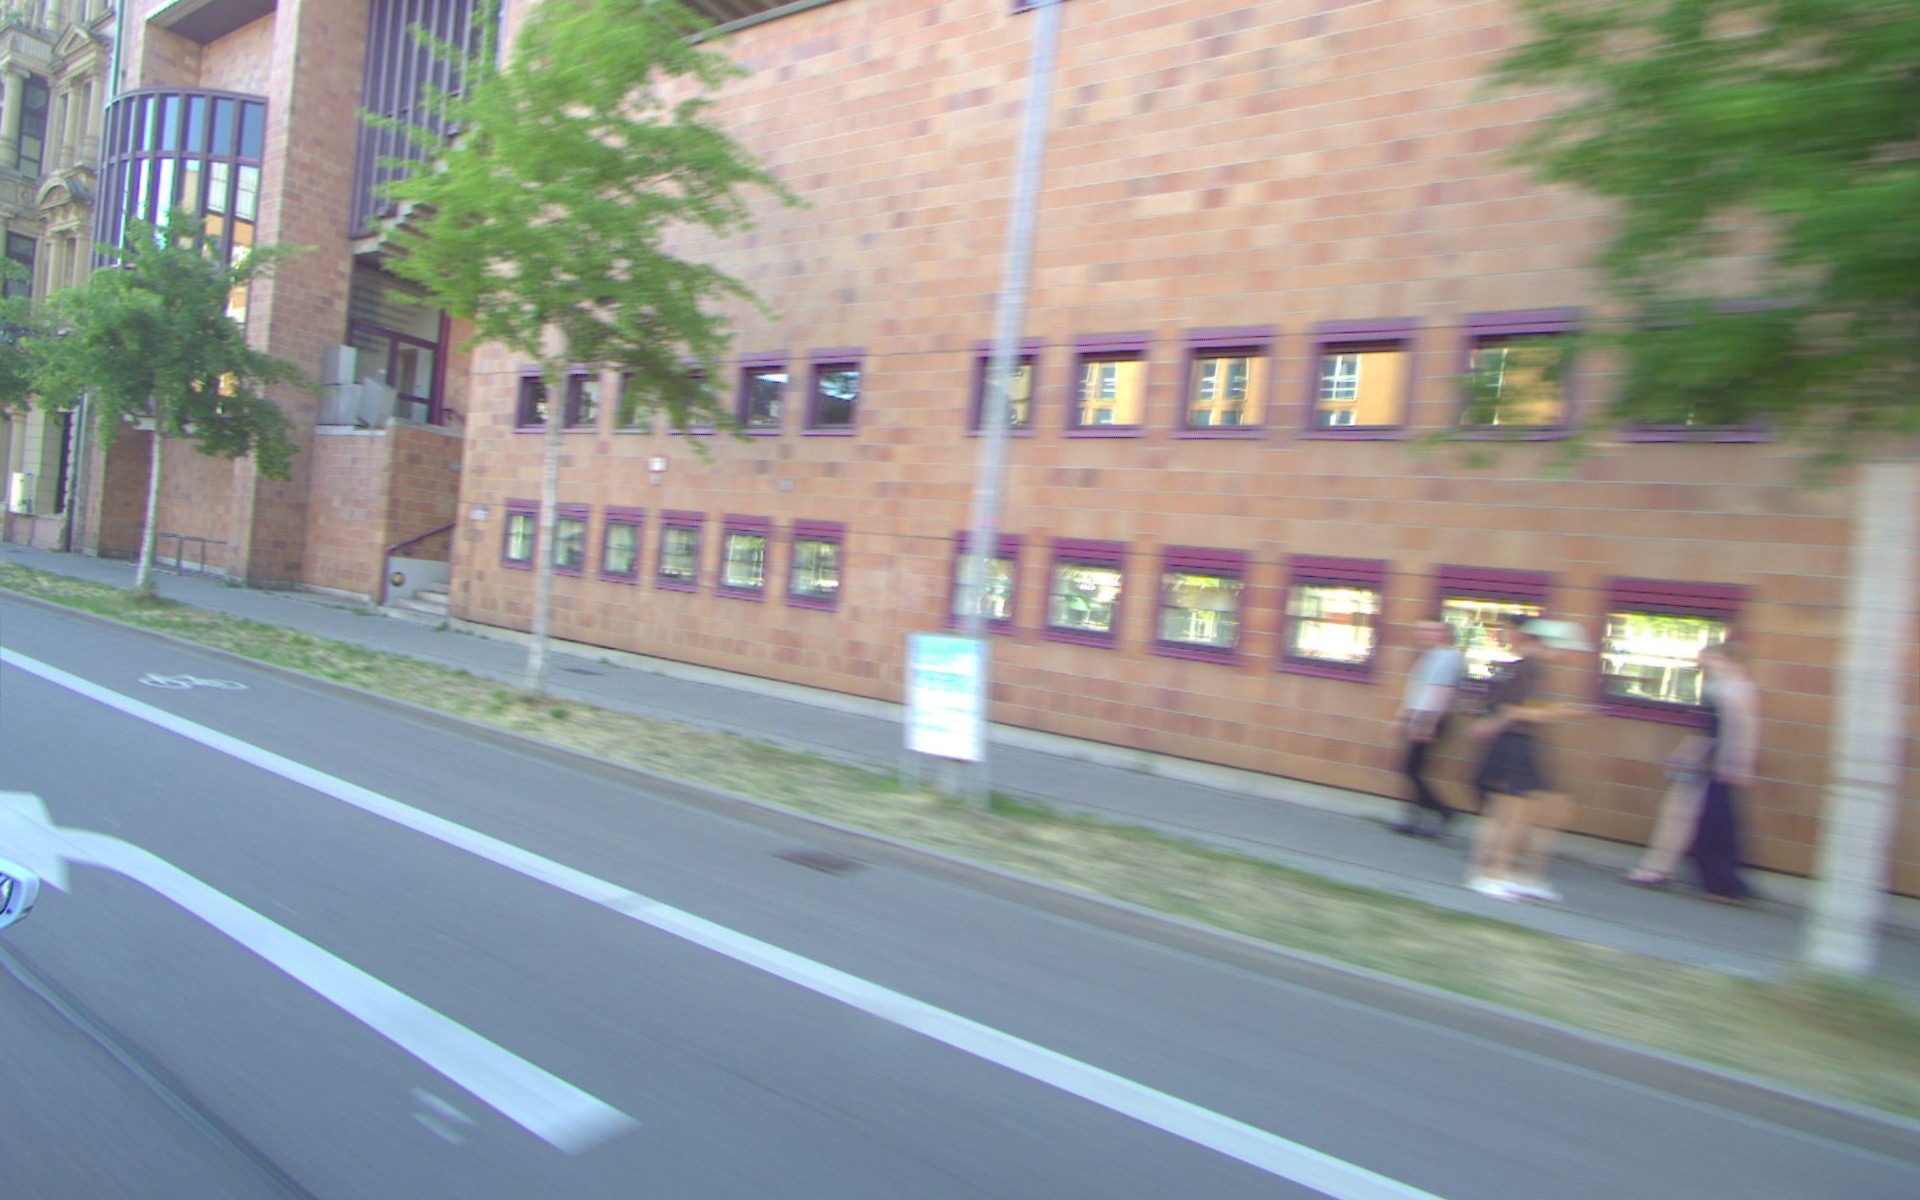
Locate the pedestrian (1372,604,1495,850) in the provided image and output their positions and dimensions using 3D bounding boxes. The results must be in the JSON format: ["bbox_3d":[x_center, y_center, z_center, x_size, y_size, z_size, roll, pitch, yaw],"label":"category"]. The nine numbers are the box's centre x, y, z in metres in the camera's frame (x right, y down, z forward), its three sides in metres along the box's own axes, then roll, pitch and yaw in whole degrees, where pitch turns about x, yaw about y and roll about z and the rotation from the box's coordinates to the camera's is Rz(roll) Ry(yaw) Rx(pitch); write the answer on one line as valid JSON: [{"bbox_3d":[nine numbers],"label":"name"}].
[{"bbox_3d":[3.607,0.948,7.683,0.417,1.778,0.533,5,1,-31],"label":"pedestrian"}]

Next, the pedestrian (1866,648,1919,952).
[{"bbox_3d":[6.007,1.219,5.969,0.533,1.778,0.689,5,1,-36],"label":"pedestrian"}]

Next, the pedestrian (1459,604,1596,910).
[{"bbox_3d":[3.523,0.948,6.282,0.528,1.778,0.421,7,1,24],"label":"pedestrian"}]

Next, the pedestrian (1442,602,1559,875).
[{"bbox_3d":[3.757,0.933,6.986,0.458,1.778,0.536,7,1,38],"label":"pedestrian"}]

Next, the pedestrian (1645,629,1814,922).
[{"bbox_3d":[5.130,1.125,6.716,0.686,1.778,0.535,7,2,43],"label":"pedestrian"}]
